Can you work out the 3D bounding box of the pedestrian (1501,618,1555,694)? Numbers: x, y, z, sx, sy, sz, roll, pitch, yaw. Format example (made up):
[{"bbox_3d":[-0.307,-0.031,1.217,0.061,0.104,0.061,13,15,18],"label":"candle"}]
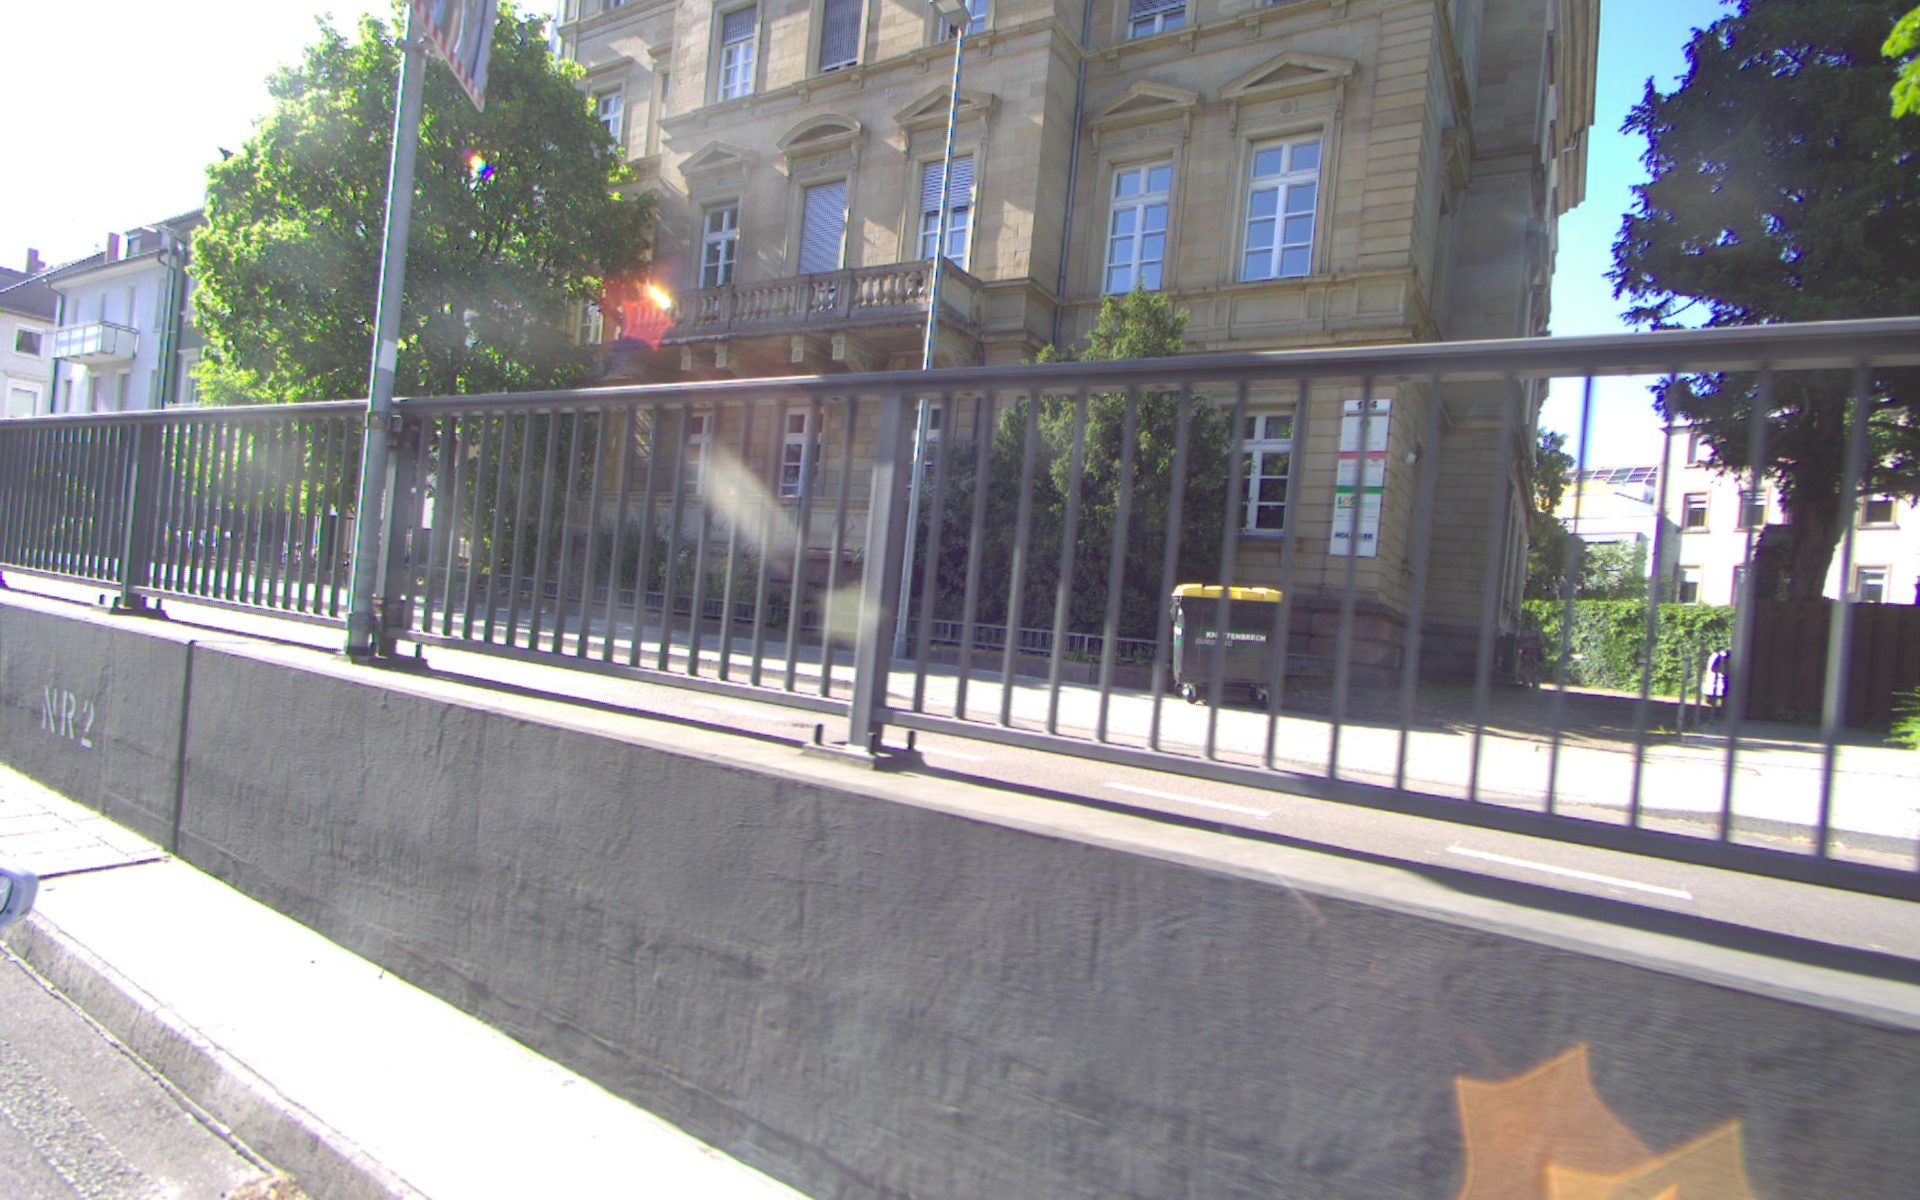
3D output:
[{"bbox_3d":[12.087,1.197,21.415,0.799,1.499,0.852,6,-1,35],"label":"pedestrian"}]

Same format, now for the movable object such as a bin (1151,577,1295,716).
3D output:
[{"bbox_3d":[3.036,0.484,11.689,1.383,1.344,1.448,6,5,14],"label":"movable object such as a bin"}]

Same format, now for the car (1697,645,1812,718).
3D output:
[{"bbox_3d":[26.179,2.697,33.118,3.881,1.904,1.828,9,-2,-35],"label":"car"}]
